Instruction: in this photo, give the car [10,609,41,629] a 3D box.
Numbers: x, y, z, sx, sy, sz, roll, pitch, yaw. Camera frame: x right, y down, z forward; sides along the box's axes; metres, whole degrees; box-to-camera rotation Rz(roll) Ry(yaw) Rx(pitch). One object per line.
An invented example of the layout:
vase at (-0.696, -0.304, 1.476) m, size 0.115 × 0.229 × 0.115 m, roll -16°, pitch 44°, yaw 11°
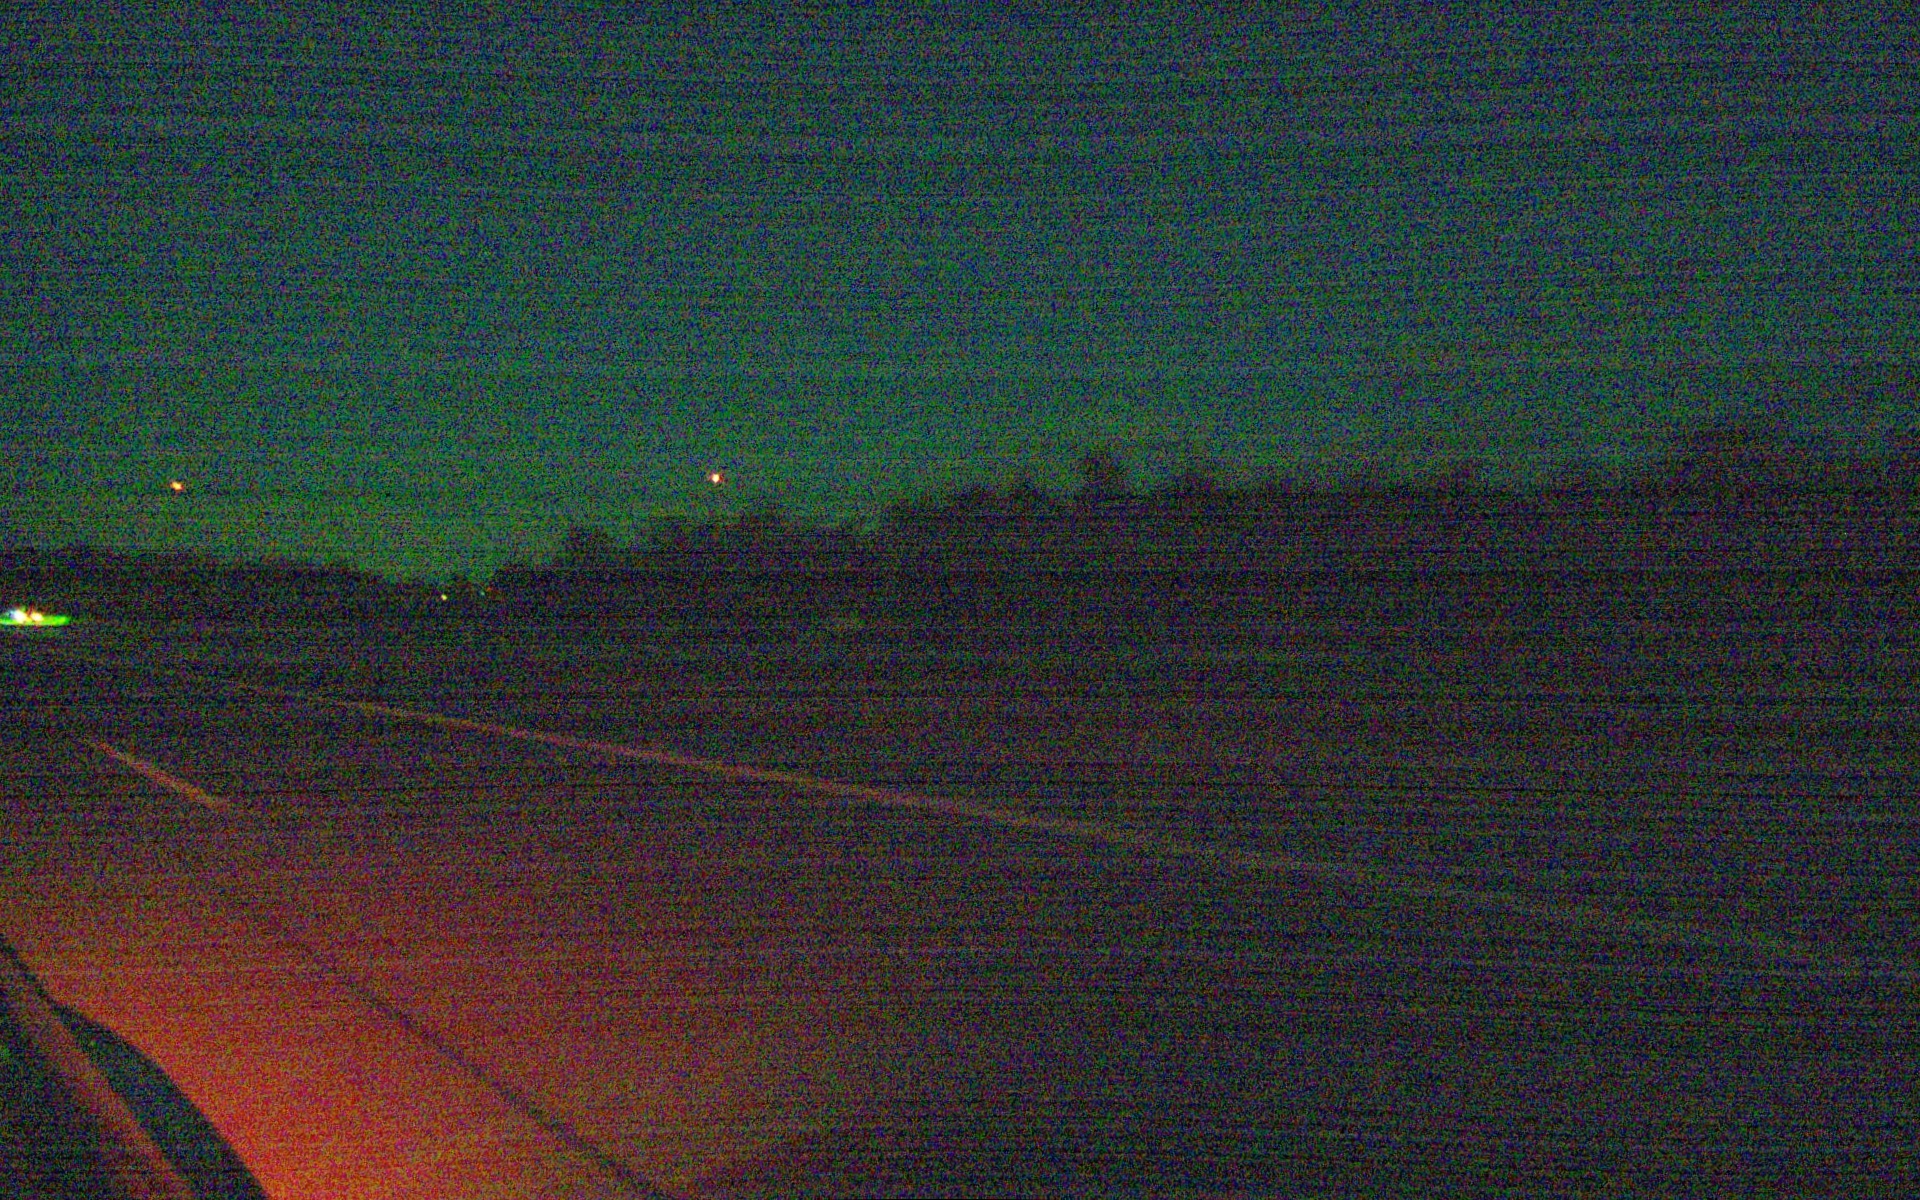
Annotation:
car at (-143.458, 2.922, 155.309) m, size 6.599 × 2.959 × 2.816 m, roll 0°, pitch 0°, yaw 41°
